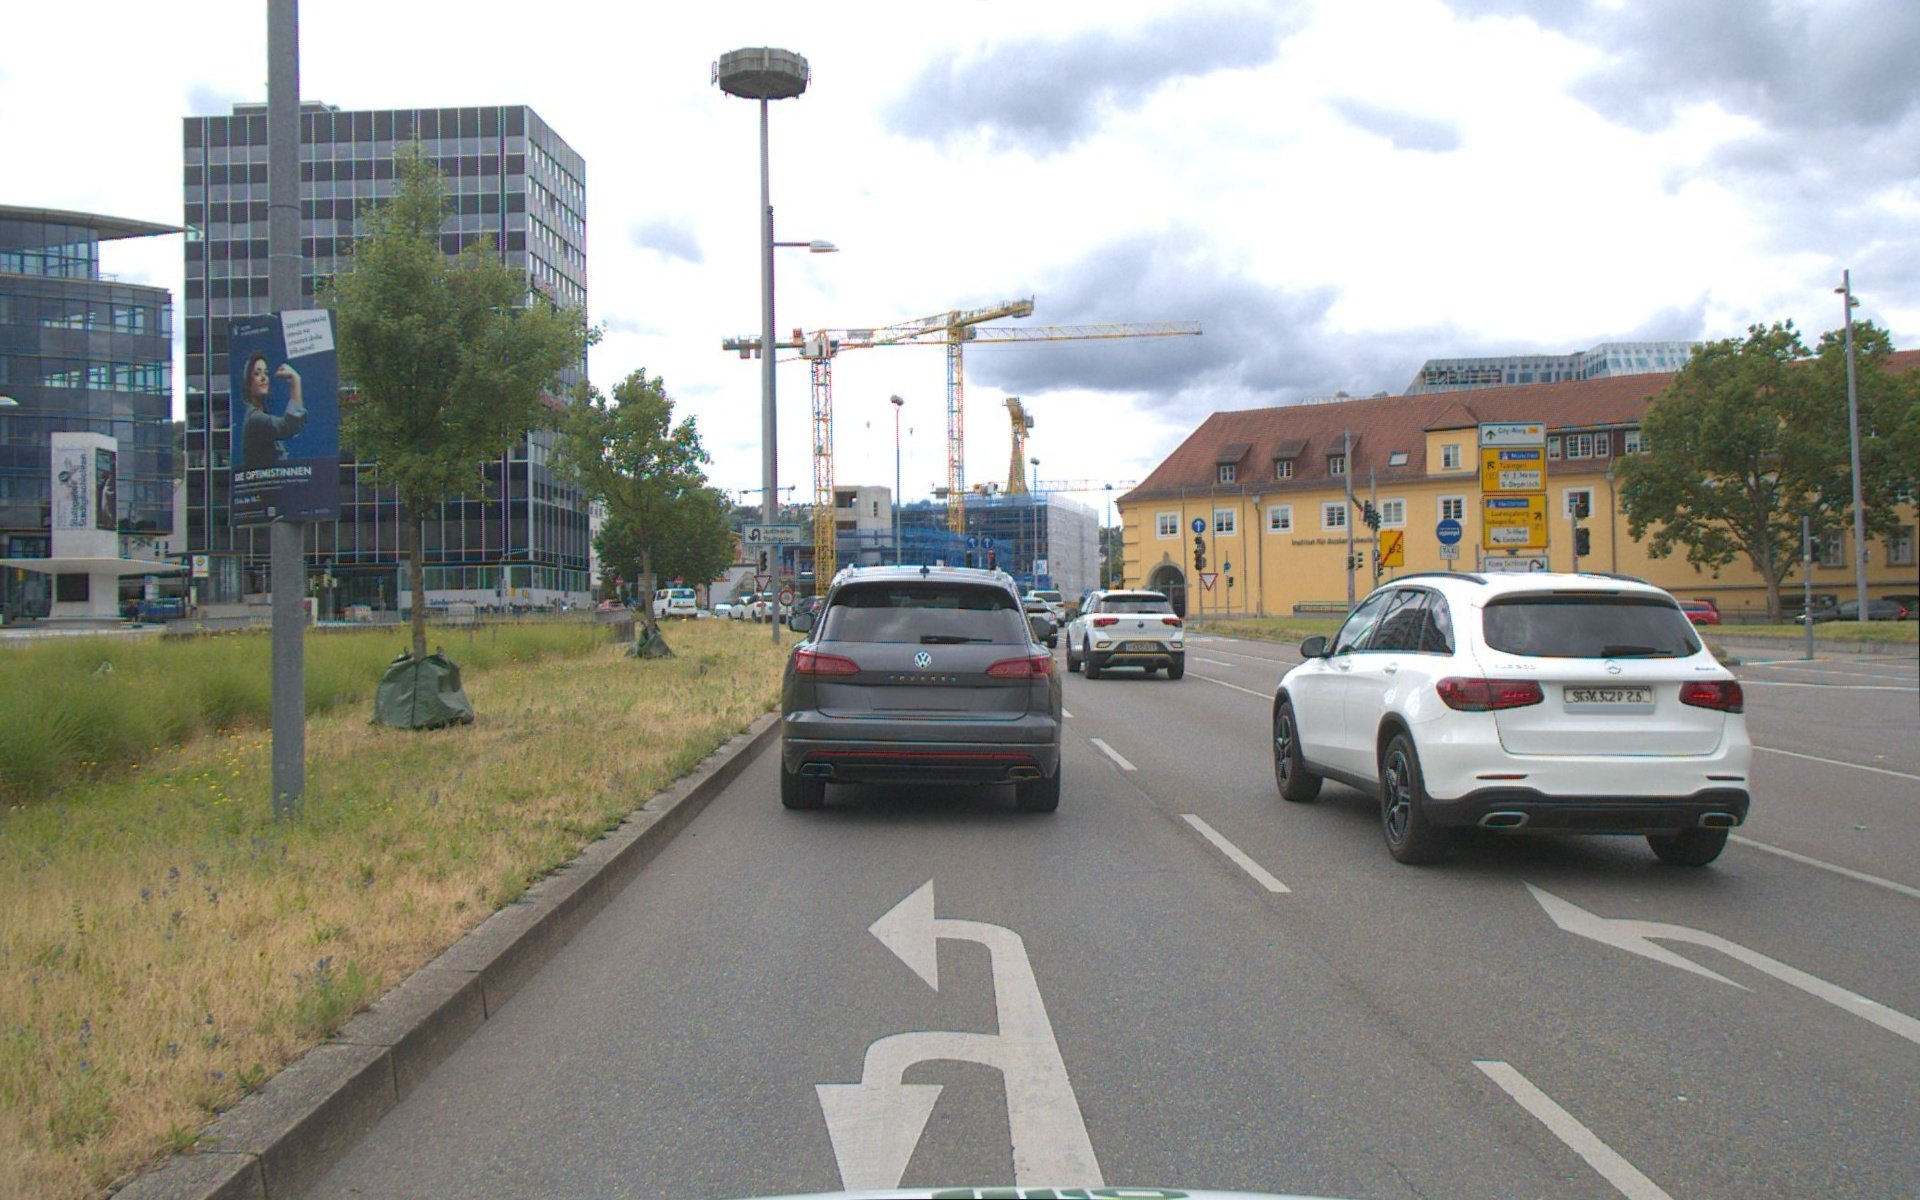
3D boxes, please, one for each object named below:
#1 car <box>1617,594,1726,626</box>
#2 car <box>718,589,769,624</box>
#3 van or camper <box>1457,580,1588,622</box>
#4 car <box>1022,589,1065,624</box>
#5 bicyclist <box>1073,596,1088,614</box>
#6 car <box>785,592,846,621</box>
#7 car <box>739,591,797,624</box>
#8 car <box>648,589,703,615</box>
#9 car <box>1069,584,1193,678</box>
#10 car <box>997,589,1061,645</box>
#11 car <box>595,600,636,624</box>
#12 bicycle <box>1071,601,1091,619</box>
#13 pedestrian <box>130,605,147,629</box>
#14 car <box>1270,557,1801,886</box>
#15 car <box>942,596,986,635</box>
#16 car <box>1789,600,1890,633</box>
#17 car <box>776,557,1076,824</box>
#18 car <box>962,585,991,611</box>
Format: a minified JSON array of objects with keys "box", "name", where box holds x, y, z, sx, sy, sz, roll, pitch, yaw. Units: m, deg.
[{"box":[33.808,0.469,78.653,4.591,1.445,1.593,0,0,31],"name":"car"},{"box":[-13.179,0.371,100.467,1.872,1.638,3.968,-3,6,-27],"name":"car"},{"box":[28.014,0.063,82.490,5.901,2.049,2.013,0,0,35],"name":"van or camper"},{"box":[3.841,0.277,76.707,1.766,1.529,3.981,0,1,-1],"name":"car"},{"box":[8.131,0.347,111.319,0.905,1.179,0.724,1,0,-6],"name":"bicyclist"},{"box":[-7.430,0.321,84.748,1.626,1.421,3.554,0,0,-35],"name":"car"},{"box":[-9.198,0.334,79.076,1.790,1.522,3.879,0,1,-23],"name":"car"},{"box":[-17.438,0.112,101.156,2.216,1.529,4.574,0,1,-25],"name":"car"},{"box":[3.083,0.513,30.499,1.855,1.613,3.800,0,1,-1],"name":"car"},{"box":[1.954,0.449,47.956,1.683,1.529,4.144,0,1,0],"name":"car"},{"box":[-23.181,0.779,111.314,1.699,1.529,3.944,0,0,-28],"name":"car"},{"box":[8.126,0.692,111.324,0.905,1.179,2.462,1,0,-5],"name":"bicycle"},{"box":[-37.370,0.758,75.212,0.465,1.100,0.560,1,0,0],"name":"pedestrian"},{"box":[3.357,0.594,10.643,1.782,1.676,4.377,0,1,-2],"name":"car"},{"box":[0.184,0.609,66.623,1.683,1.529,3.982,0,0,1],"name":"car"},{"box":[39.881,0.741,75.021,4.001,1.438,1.656,0,0,31],"name":"car"},{"box":[-0.252,0.549,12.440,1.893,1.676,3.999,0,1,-1],"name":"car"},{"box":[0.990,-0.148,100.923,1.683,1.529,3.981,0,1,0],"name":"car"}]
